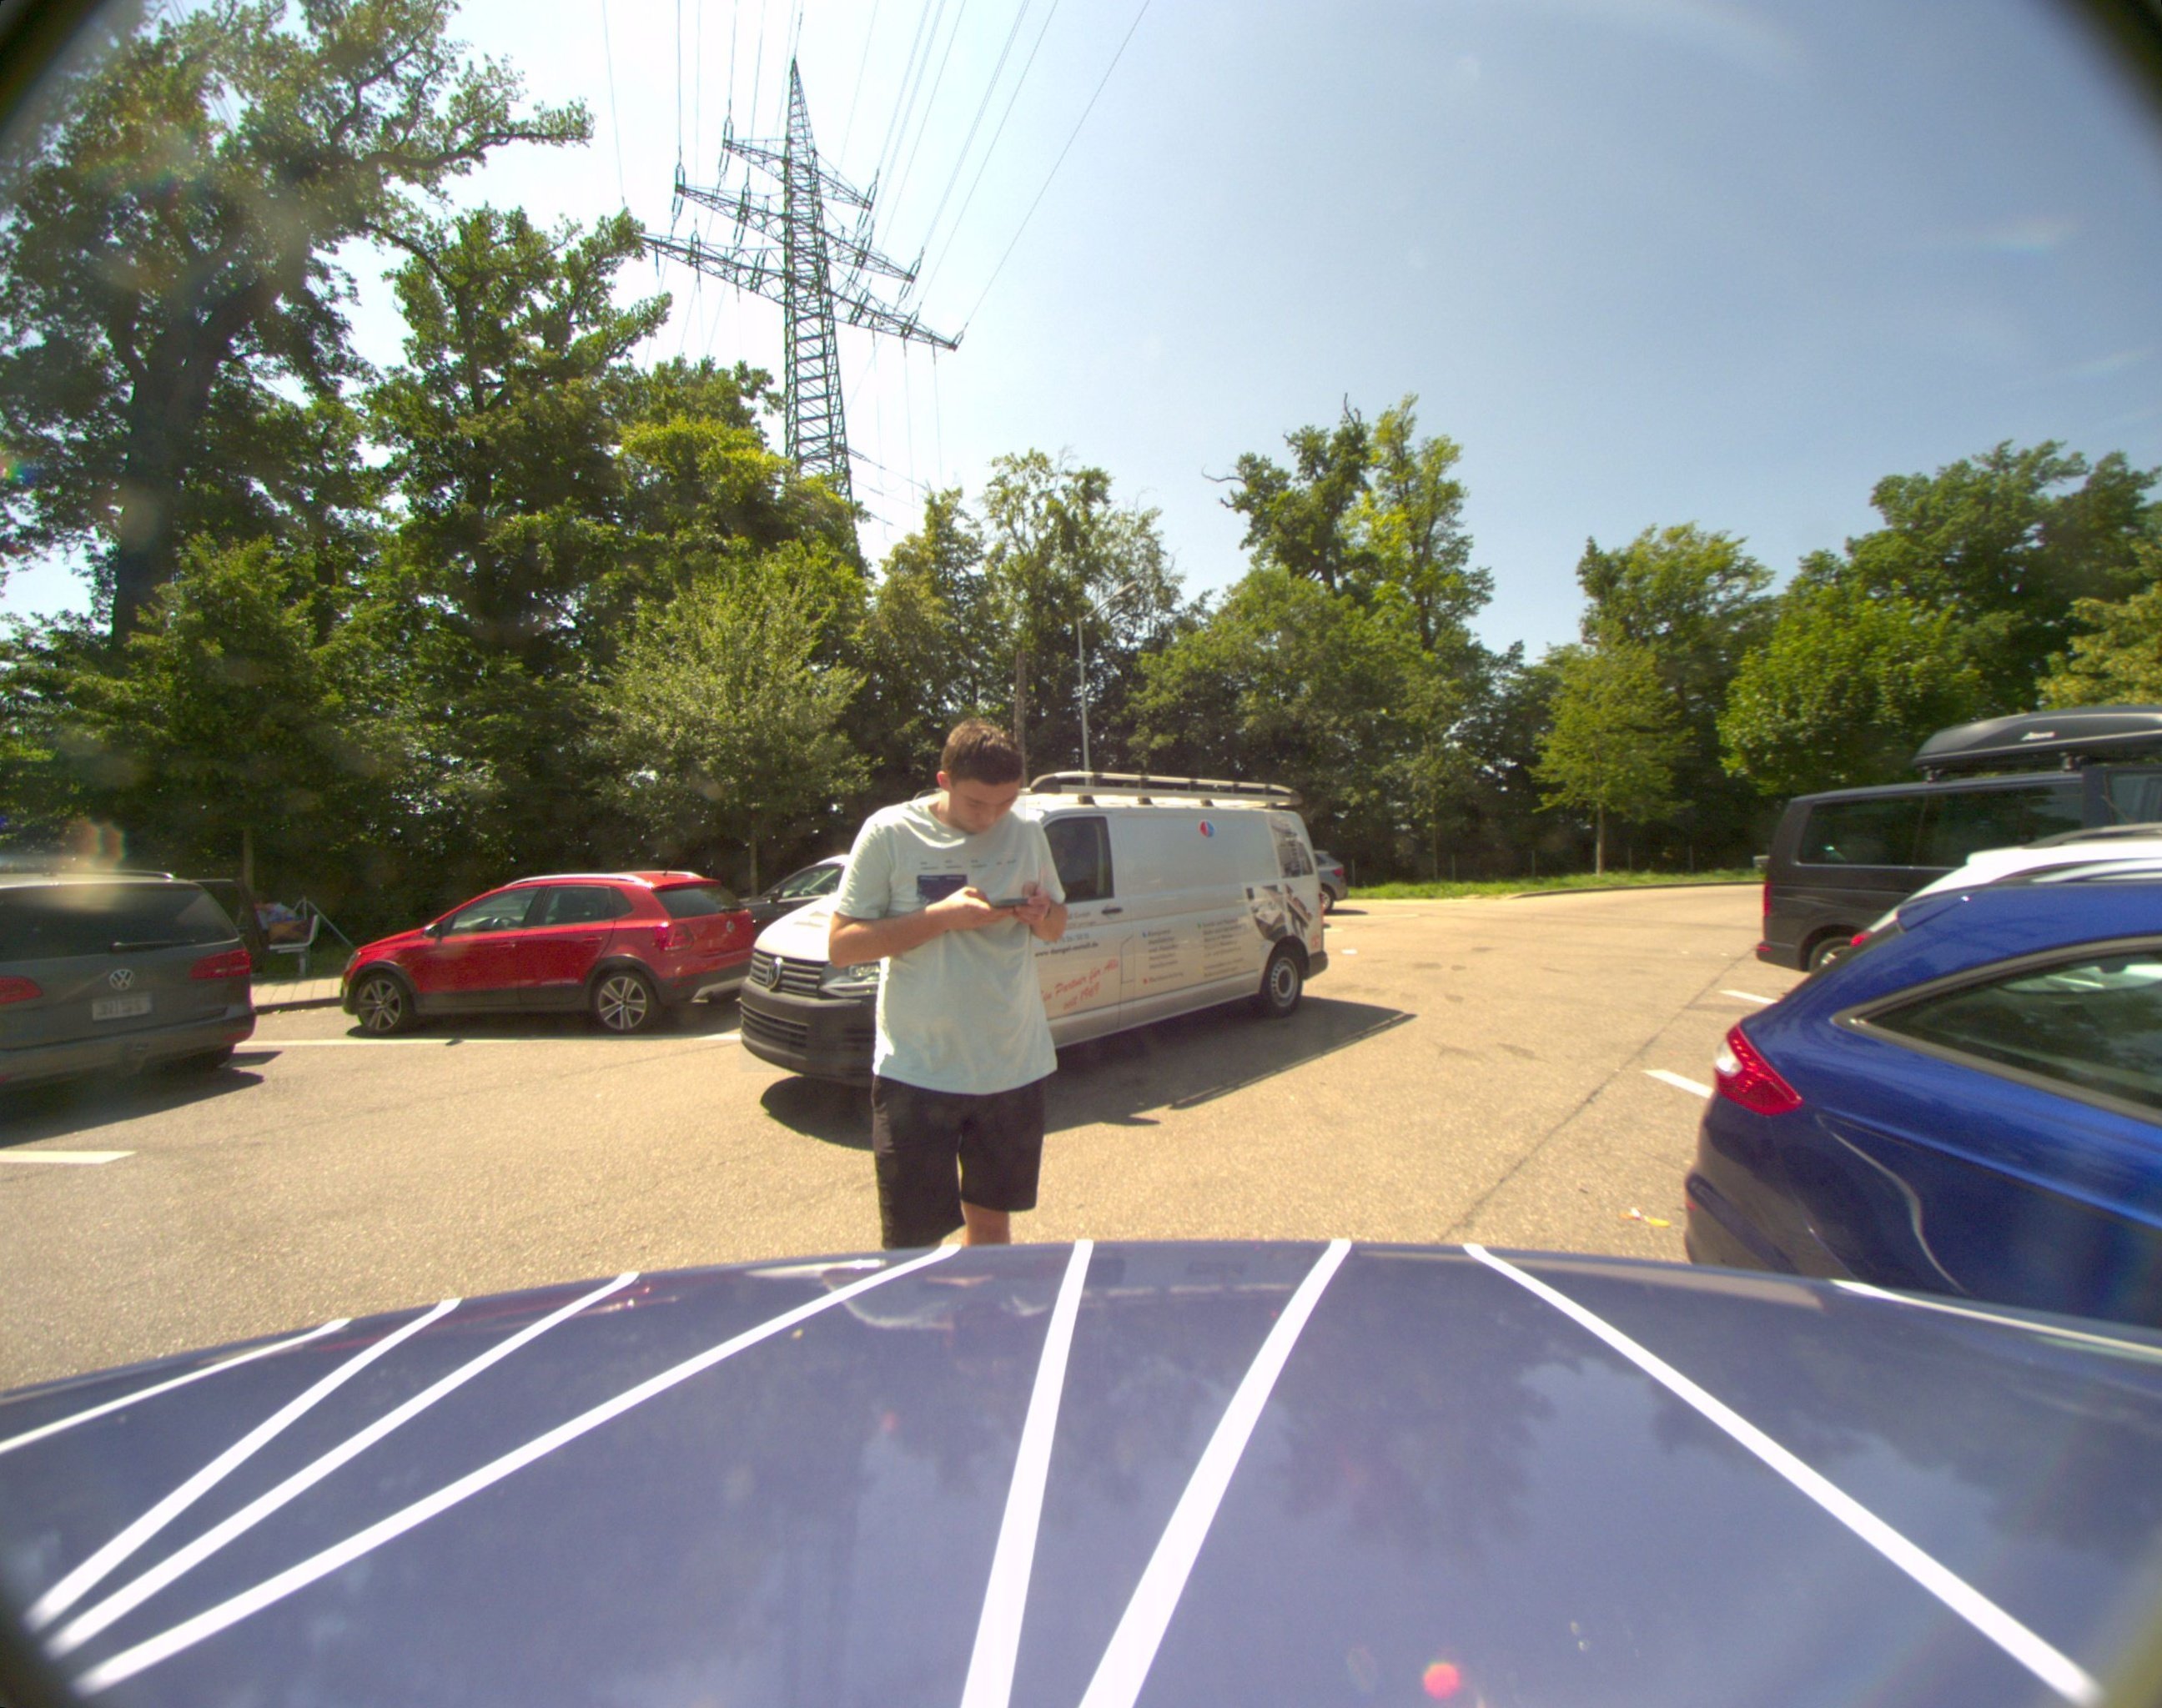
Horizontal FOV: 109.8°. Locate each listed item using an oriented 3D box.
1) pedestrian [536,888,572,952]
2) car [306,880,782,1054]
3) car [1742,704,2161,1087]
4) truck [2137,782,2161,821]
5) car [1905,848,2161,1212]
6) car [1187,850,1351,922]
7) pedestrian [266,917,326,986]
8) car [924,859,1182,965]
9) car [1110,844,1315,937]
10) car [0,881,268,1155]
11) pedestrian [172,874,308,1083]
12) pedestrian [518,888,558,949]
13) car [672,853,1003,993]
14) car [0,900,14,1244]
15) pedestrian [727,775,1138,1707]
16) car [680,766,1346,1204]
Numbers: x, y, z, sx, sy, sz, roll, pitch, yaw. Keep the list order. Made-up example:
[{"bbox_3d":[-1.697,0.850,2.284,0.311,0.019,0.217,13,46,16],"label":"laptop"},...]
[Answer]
[{"bbox_3d":[-10.102,1.268,14.566,0.366,1.186,0.356,-2,1,21],"label":"pedestrian"},{"bbox_3d":[-5.228,1.071,7.658,3.745,1.458,1.621,-2,0,7],"label":"car"},{"bbox_3d":[7.334,0.235,5.203,1.788,2.304,4.084,-2,0,-5],"label":"car"},{"bbox_3d":[40.260,-1.969,27.033,1.168,1.367,2.882,-2,-1,-19],"label":"truck"},{"bbox_3d":[4.745,0.658,2.195,1.344,1.352,3.114,-2,0,1],"label":"car"},{"bbox_3d":[4.371,0.734,18.137,3.585,1.493,1.707,-2,1,8],"label":"car"},{"bbox_3d":[-10.904,1.344,10.566,0.503,0.874,0.512,-2,0,-39],"label":"pedestrian"},{"bbox_3d":[-0.364,0.876,12.111,3.773,1.445,1.848,-2,0,4],"label":"car"},{"bbox_3d":[2.575,0.704,15.450,3.850,1.678,1.755,-2,0,4],"label":"car"},{"bbox_3d":[-8.442,1.097,5.435,3.903,1.607,1.705,-2,1,11],"label":"car"},{"bbox_3d":[-7.329,1.046,6.640,0.481,1.712,0.589,-2,1,22],"label":"pedestrian"},{"bbox_3d":[-10.959,1.293,15.350,0.413,1.186,0.443,-2,1,12],"label":"pedestrian"},{"bbox_3d":[-3.112,0.869,10.283,3.866,1.607,1.709,-2,0,0],"label":"car"},{"bbox_3d":[-6.646,1.058,1.930,4.172,1.607,1.835,-2,0,-24],"label":"car"},{"bbox_3d":[-0.373,0.764,1.844,0.741,1.818,0.613,-2,0,-34],"label":"pedestrian"},{"bbox_3d":[0.008,0.592,6.192,5.445,2.092,1.839,-2,1,-45],"label":"car"}]
